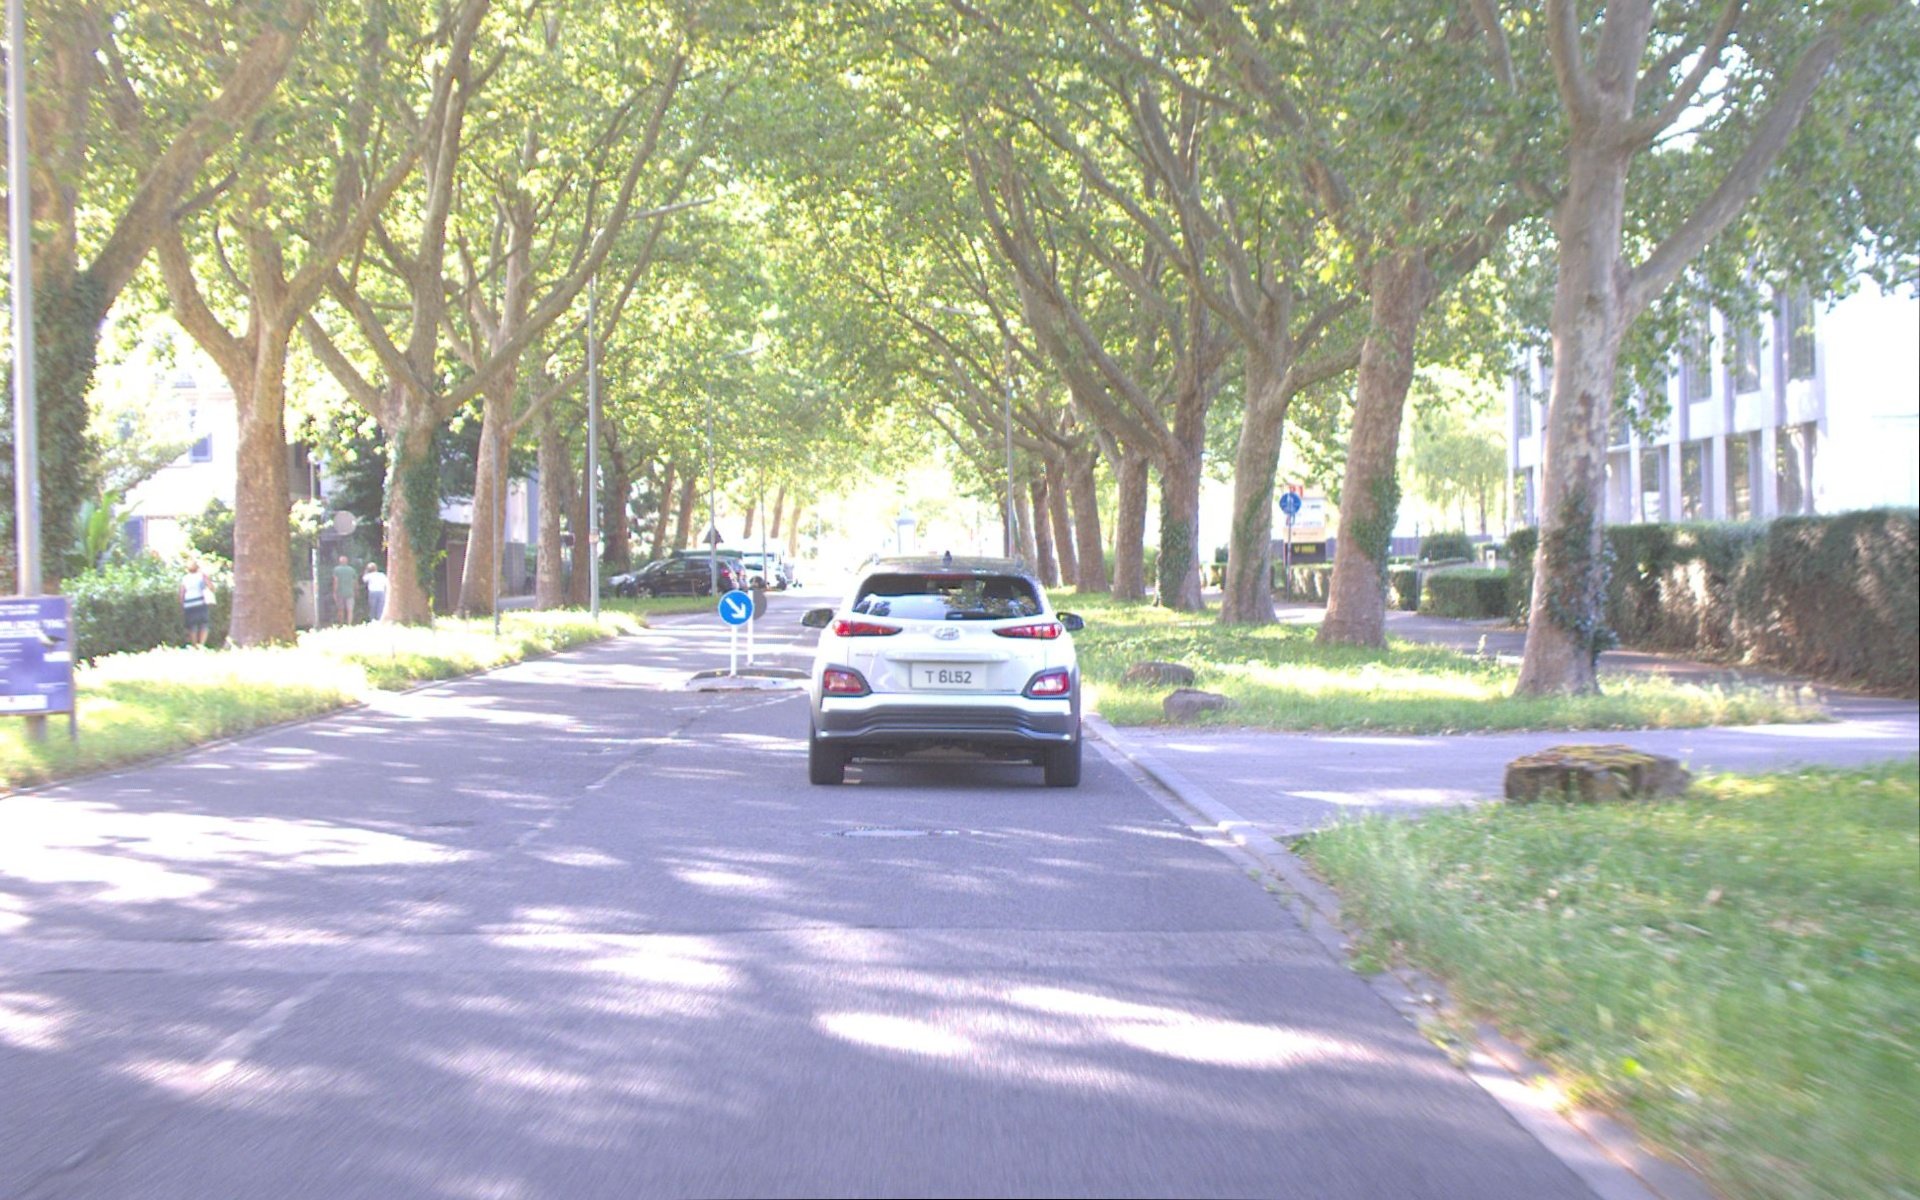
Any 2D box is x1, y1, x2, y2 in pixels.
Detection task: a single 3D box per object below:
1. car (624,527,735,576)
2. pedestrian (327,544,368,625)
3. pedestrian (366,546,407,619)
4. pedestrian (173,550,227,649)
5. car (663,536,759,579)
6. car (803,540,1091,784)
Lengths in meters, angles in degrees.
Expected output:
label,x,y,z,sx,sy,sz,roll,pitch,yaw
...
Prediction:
label,x,y,z,sx,sy,sz,roll,pitch,yaw
car,-10.249,-1.768,125.507,3.986,1.766,2.000,0,0,-5
pedestrian,-14.311,-0.360,80.363,0.749,1.868,0.793,0,0,-26
pedestrian,-13.494,-0.412,80.870,0.749,1.702,0.793,0,0,-25
pedestrian,-13.112,-0.009,59.337,0.749,1.701,0.793,0,0,-1
car,-10.487,-1.806,144.464,3.986,1.766,2.000,0,1,-5
car,-0.126,0.383,24.182,1.835,1.550,4.000,1,0,-1
